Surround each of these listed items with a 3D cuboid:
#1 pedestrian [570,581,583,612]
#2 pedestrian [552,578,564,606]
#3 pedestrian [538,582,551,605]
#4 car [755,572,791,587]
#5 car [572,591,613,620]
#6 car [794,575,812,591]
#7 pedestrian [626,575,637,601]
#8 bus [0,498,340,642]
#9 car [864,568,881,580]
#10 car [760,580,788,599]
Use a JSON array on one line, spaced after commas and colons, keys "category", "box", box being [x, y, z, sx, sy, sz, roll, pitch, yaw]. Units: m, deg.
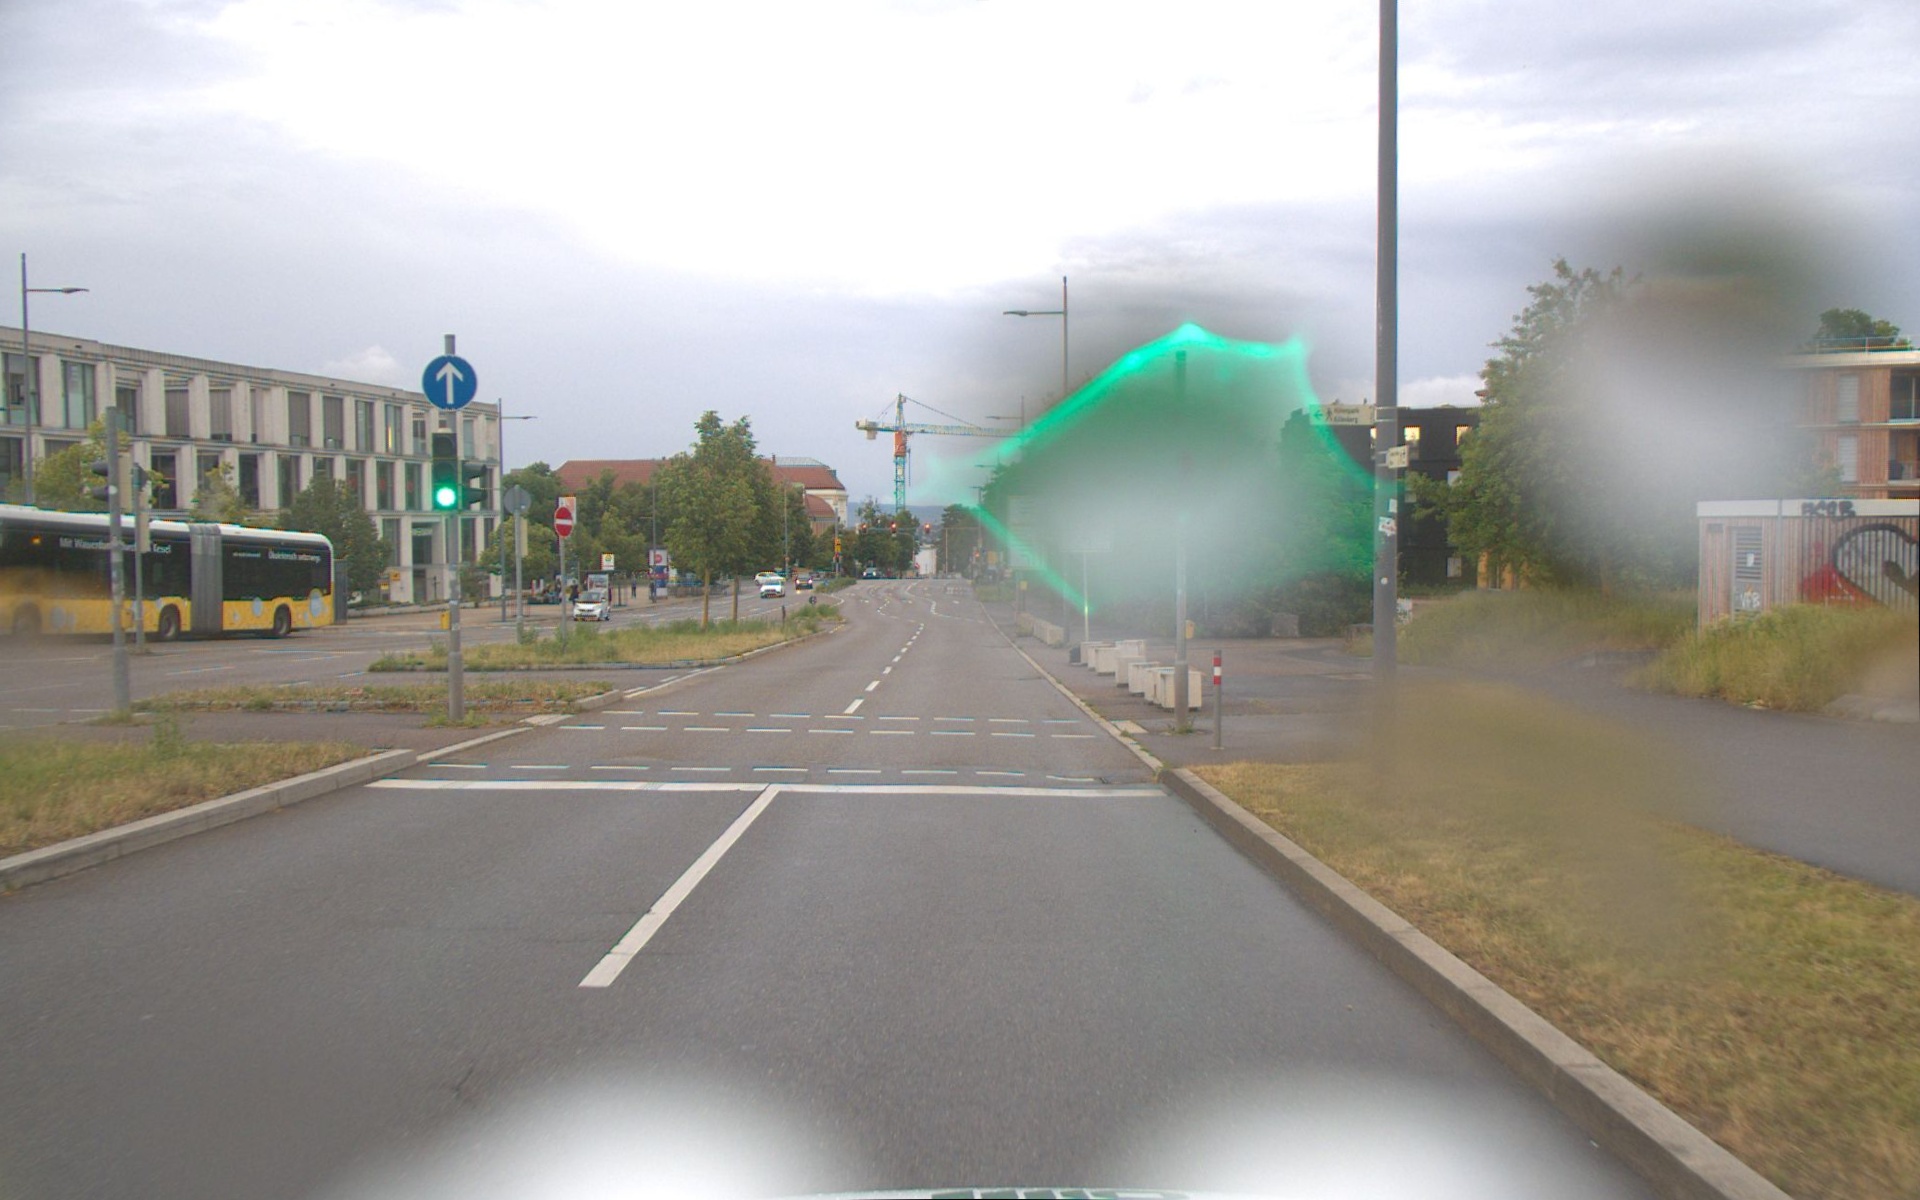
[{"category": "pedestrian", "box": [-24.808, -0.242, 106.914, 0.737, 1.981, 0.833, 0, -1, -18]}, {"category": "pedestrian", "box": [-27.797, -0.560, 114.355, 0.737, 1.885, 0.833, 0, -1, -18]}, {"category": "pedestrian", "box": [-28.775, -0.425, 114.500, 0.821, 1.559, 0.748, 0, -1, -14]}, {"category": "car", "box": [-20.844, -2.271, 184.073, 3.803, 1.520, 1.733, -1, -1, 33]}, {"category": "car", "box": [-19.820, 0.318, 89.268, 1.447, 1.520, 2.531, -1, -1, 5]}, {"category": "car", "box": [-15.997, -1.717, 168.996, 1.734, 1.520, 4.064, -1, -1, -4]}, {"category": "pedestrian", "box": [-26.144, -0.937, 131.679, 0.737, 2.049, 0.833, 0, -1, -18]}, {"category": "bus", "box": [-23.256, -0.584, 46.700, 2.725, 3.416, 18.238, -1, -1, 7]}, {"category": "car", "box": [-11.914, -3.498, 226.128, 1.732, 1.520, 4.070, -1, -1, 4]}, {"category": "car", "box": [-15.696, -0.856, 139.737, 1.732, 1.520, 4.069, -1, -1, 4]}]
